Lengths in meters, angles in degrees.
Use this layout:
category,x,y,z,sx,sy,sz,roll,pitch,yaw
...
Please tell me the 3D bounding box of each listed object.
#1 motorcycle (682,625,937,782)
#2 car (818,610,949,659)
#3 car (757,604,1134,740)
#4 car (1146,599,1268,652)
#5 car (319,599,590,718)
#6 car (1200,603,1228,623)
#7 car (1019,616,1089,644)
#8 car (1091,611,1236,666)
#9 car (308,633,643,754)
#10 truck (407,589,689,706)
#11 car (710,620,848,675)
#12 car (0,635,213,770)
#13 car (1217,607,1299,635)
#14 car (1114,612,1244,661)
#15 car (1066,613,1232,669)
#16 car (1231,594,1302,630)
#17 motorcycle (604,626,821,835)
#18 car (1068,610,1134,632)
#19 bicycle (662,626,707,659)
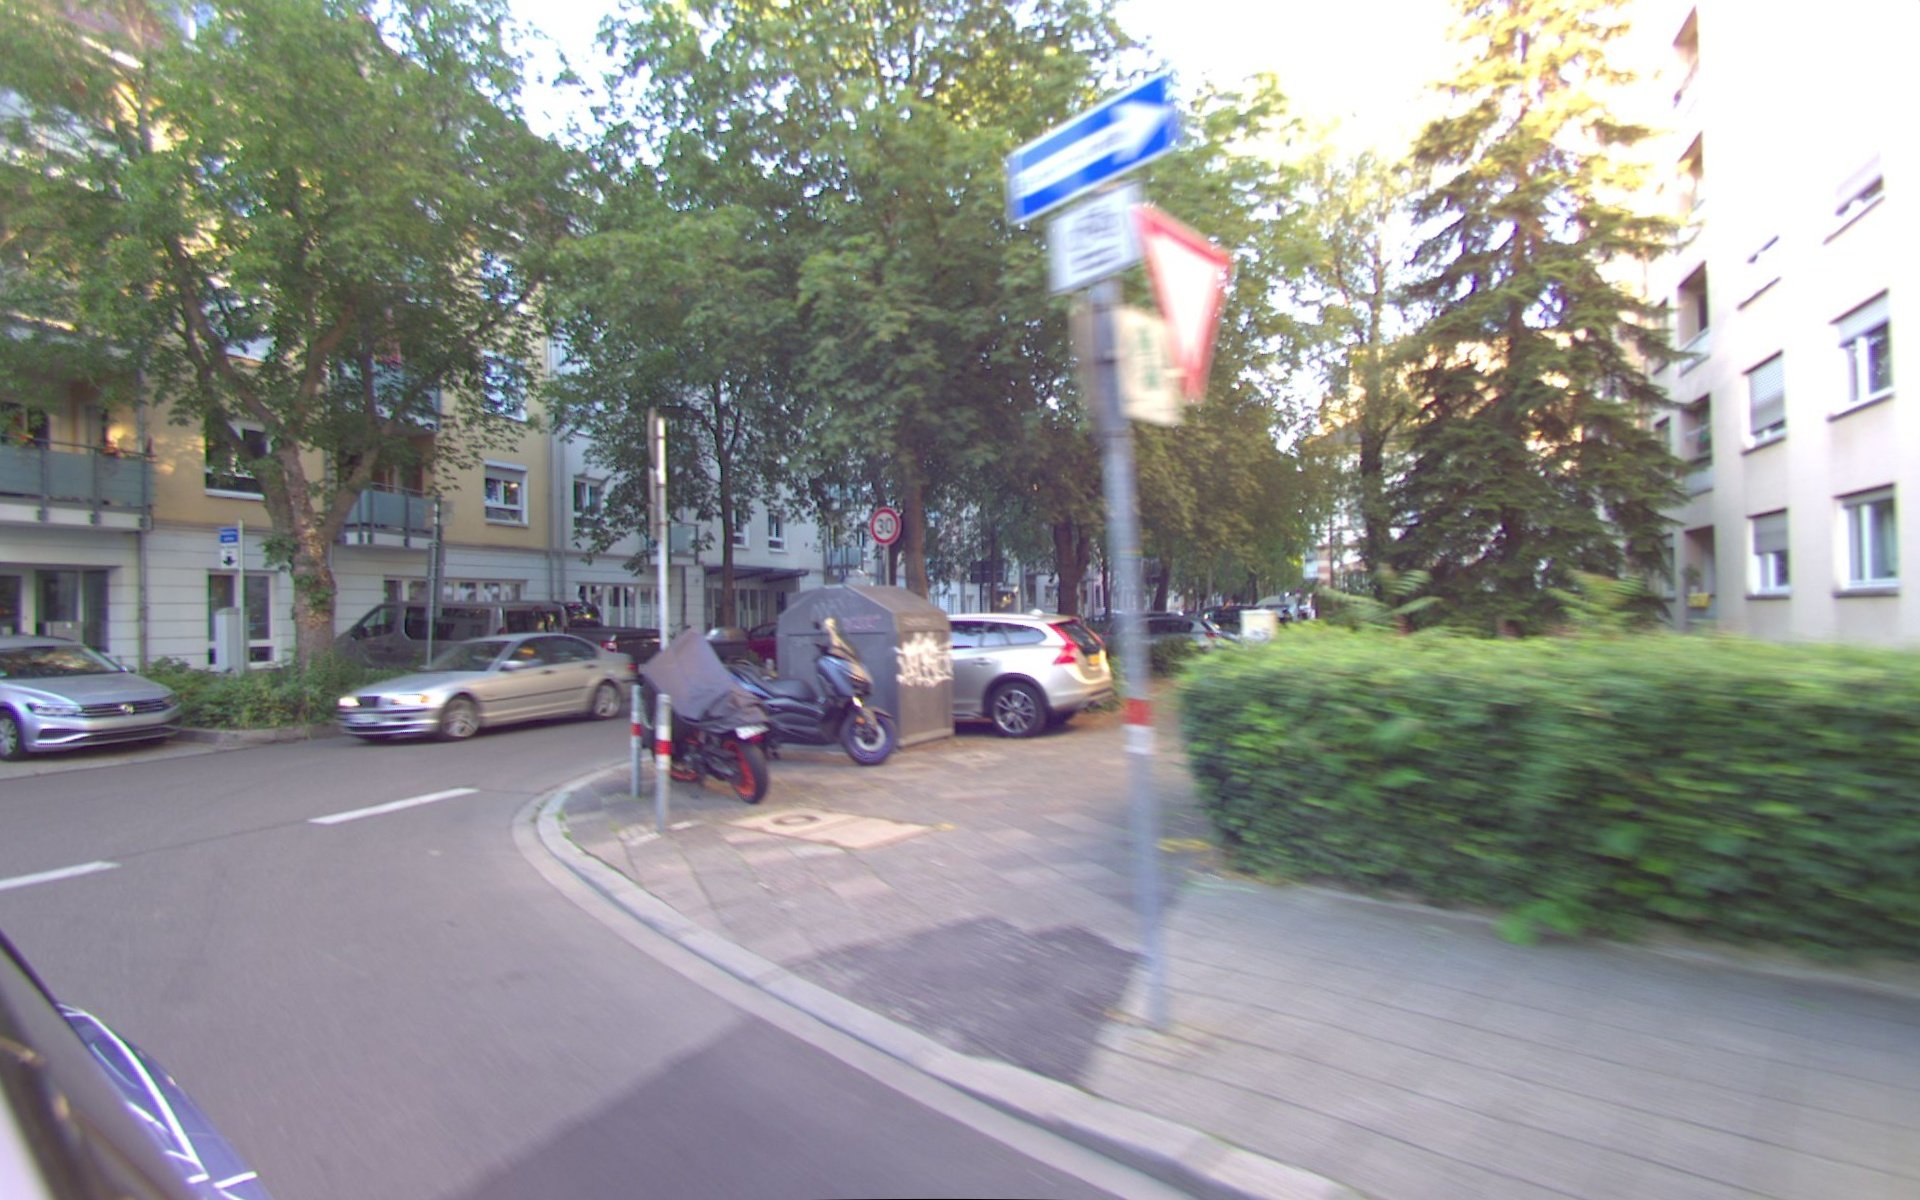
category,x,y,z,sx,sy,sz,roll,pitch,yaw
motorcycle,-1.537,0.995,10.256,2.445,1.431,0.904,-2,-1,24
car,-2.943,1.294,39.101,4.618,1.630,1.998,2,0,18
car,-0.193,0.918,13.553,4.605,1.564,2.059,-2,-1,24
car,9.856,1.011,40.312,4.485,1.970,1.987,-2,-1,20
car,-9.762,1.084,19.606,4.581,2.082,2.183,-1,-1,20
car,25.348,1.322,100.884,1.988,1.863,3.966,-3,-2,25
car,5.846,1.828,62.579,3.953,1.597,1.903,1,0,21
car,6.187,1.171,30.796,3.979,1.577,1.912,-2,-1,27
car,-6.763,1.224,14.664,1.727,1.381,4.297,-2,-1,24
truck,-9.043,1.028,22.166,5.867,2.328,2.196,-2,-1,22
car,-5.547,1.457,31.136,3.760,1.556,1.865,-2,-1,20
car,-12.511,1.251,13.465,4.601,1.514,1.948,-1,-1,20
car,19.261,1.363,65.377,4.836,1.634,2.144,-2,-1,22
car,7.196,1.182,33.243,3.968,1.502,1.814,-2,-1,19
car,5.279,1.149,28.194,4.271,1.440,1.866,-2,-1,21
car,23.360,0.943,77.024,4.984,2.592,2.106,-2,-1,21
motorcycle,-2.073,0.946,8.206,0.838,1.431,2.258,-1,-1,-38
car,10.443,1.523,74.871,4.449,1.438,1.994,1,0,26
bicycle,-9.088,1.396,33.432,0.422,1.045,1.869,0,-1,21
